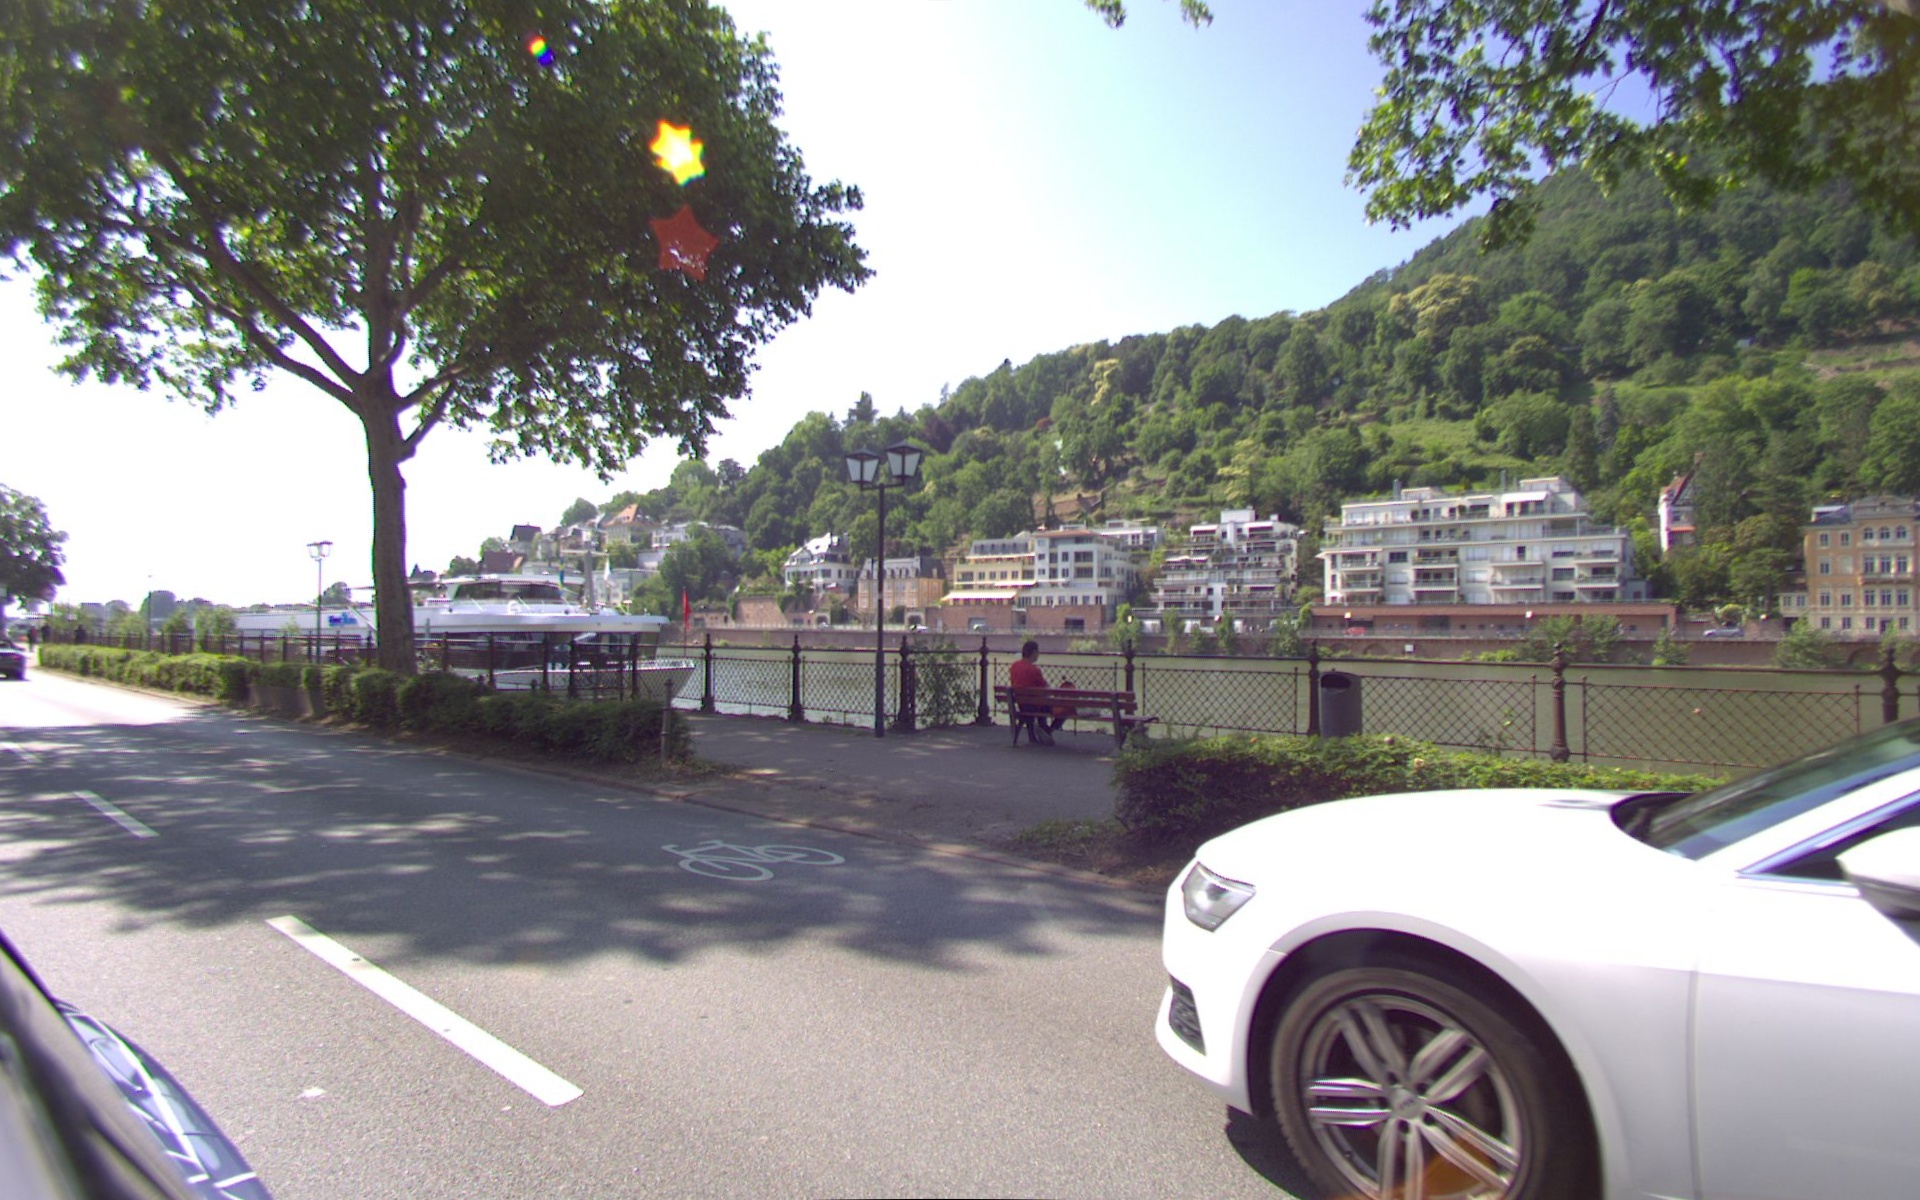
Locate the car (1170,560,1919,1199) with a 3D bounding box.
[{"bbox_3d":[2.838,0.694,1.870,4.531,1.468,1.751,-1,-4,41],"label":"car"}]

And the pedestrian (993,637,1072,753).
[{"bbox_3d":[0.887,1.122,12.298,0.656,1.318,0.695,-1,0,42],"label":"pedestrian"}]

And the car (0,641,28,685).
[{"bbox_3d":[-28.744,1.789,29.588,3.483,1.220,1.681,-1,-6,40],"label":"car"}]
